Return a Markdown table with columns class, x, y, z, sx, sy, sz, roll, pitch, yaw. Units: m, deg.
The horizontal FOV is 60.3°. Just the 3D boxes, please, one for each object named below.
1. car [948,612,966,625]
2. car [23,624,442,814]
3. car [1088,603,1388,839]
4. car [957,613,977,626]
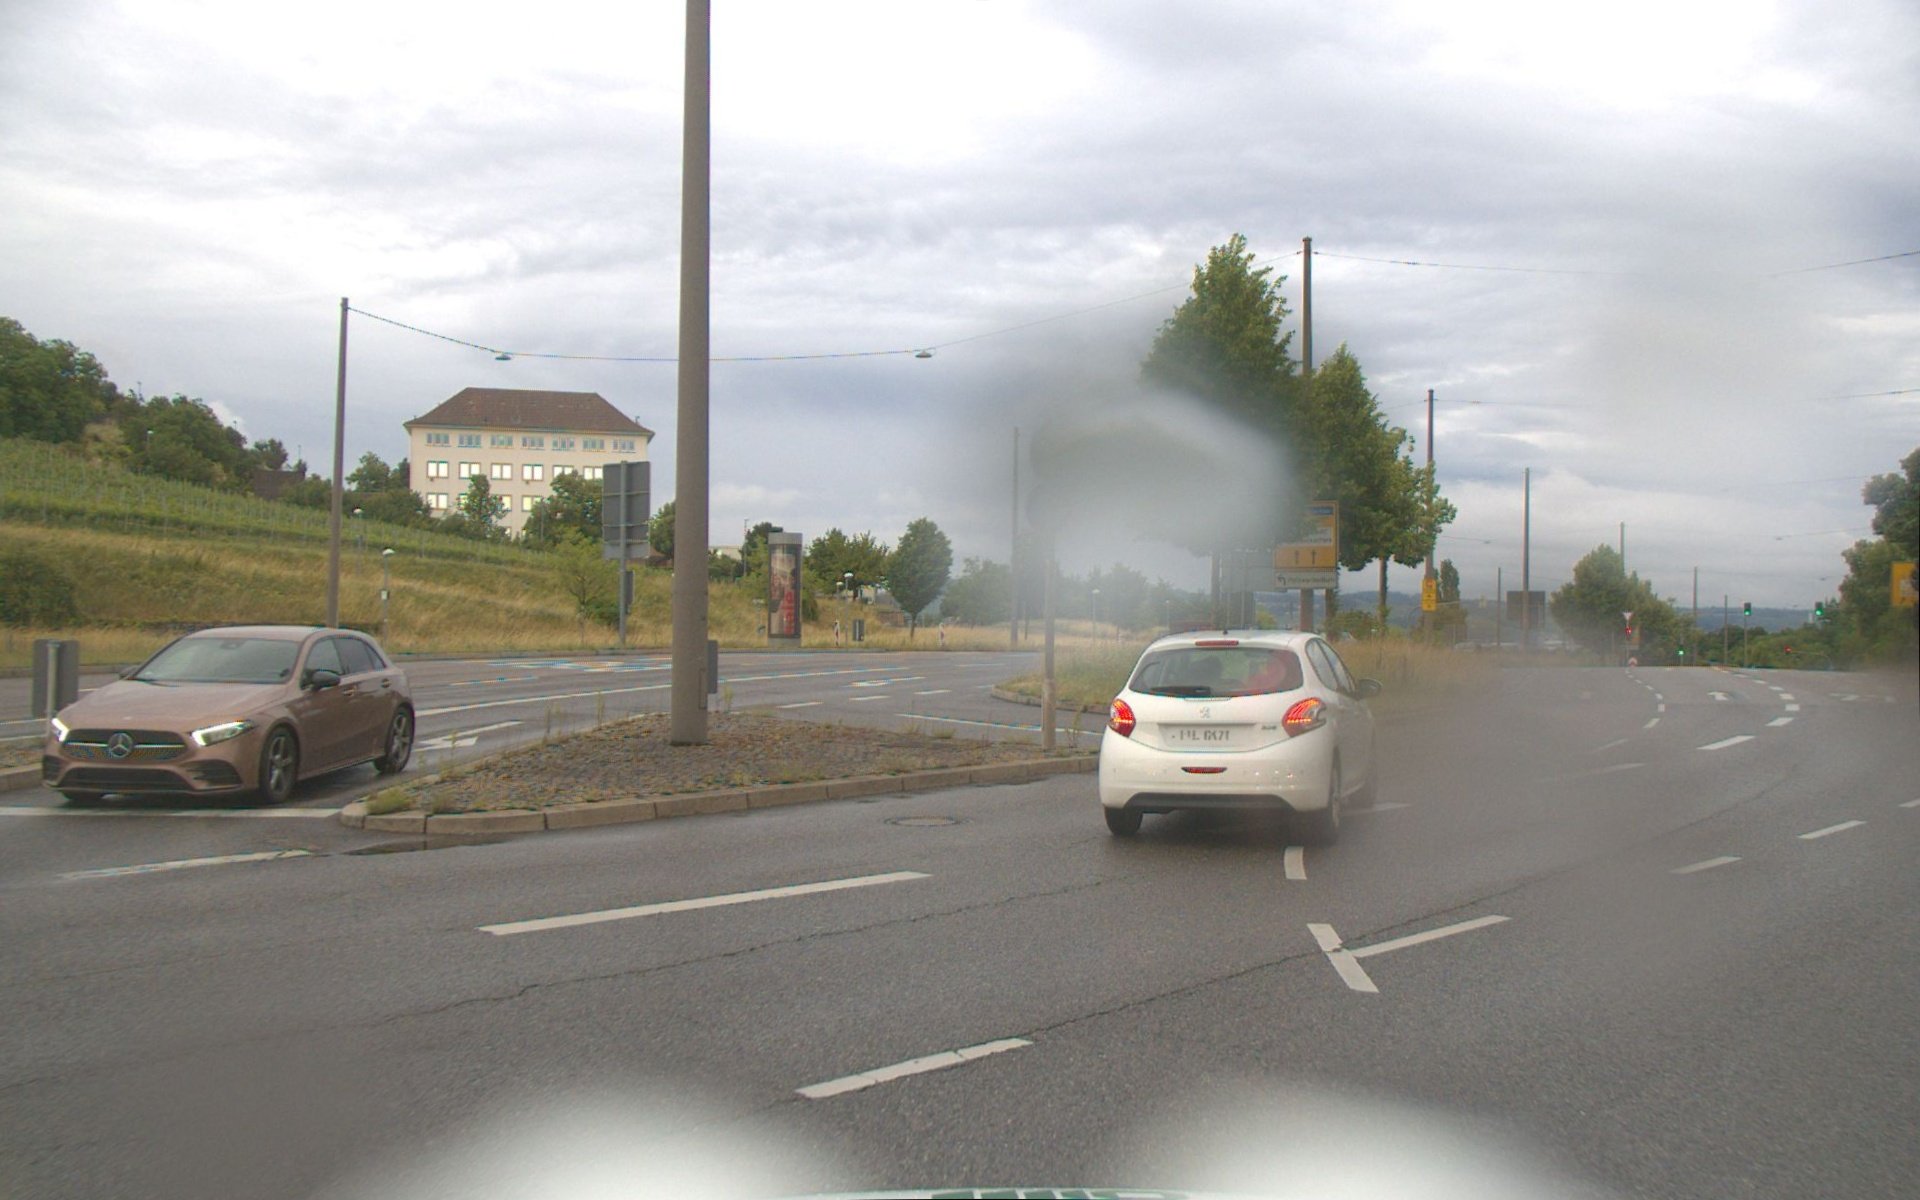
| class | x | y | z | sx | sy | sz | roll | pitch | yaw |
| --- | --- | --- | --- | --- | --- | --- | --- | --- | --- |
| car | -0.320 | 2.264 | 198.373 | 1.805 | 1.512 | 3.995 | 0 | 0 | -6 |
| car | -6.291 | 0.948 | 14.934 | 1.739 | 1.450 | 4.374 | 0 | -1 | 2 |
| car | 2.328 | 0.820 | 12.973 | 1.682 | 1.515 | 4.001 | 1 | -1 | 19 |
| car | 0.788 | 2.211 | 190.050 | 1.805 | 1.512 | 3.995 | 0 | 0 | -6 |
